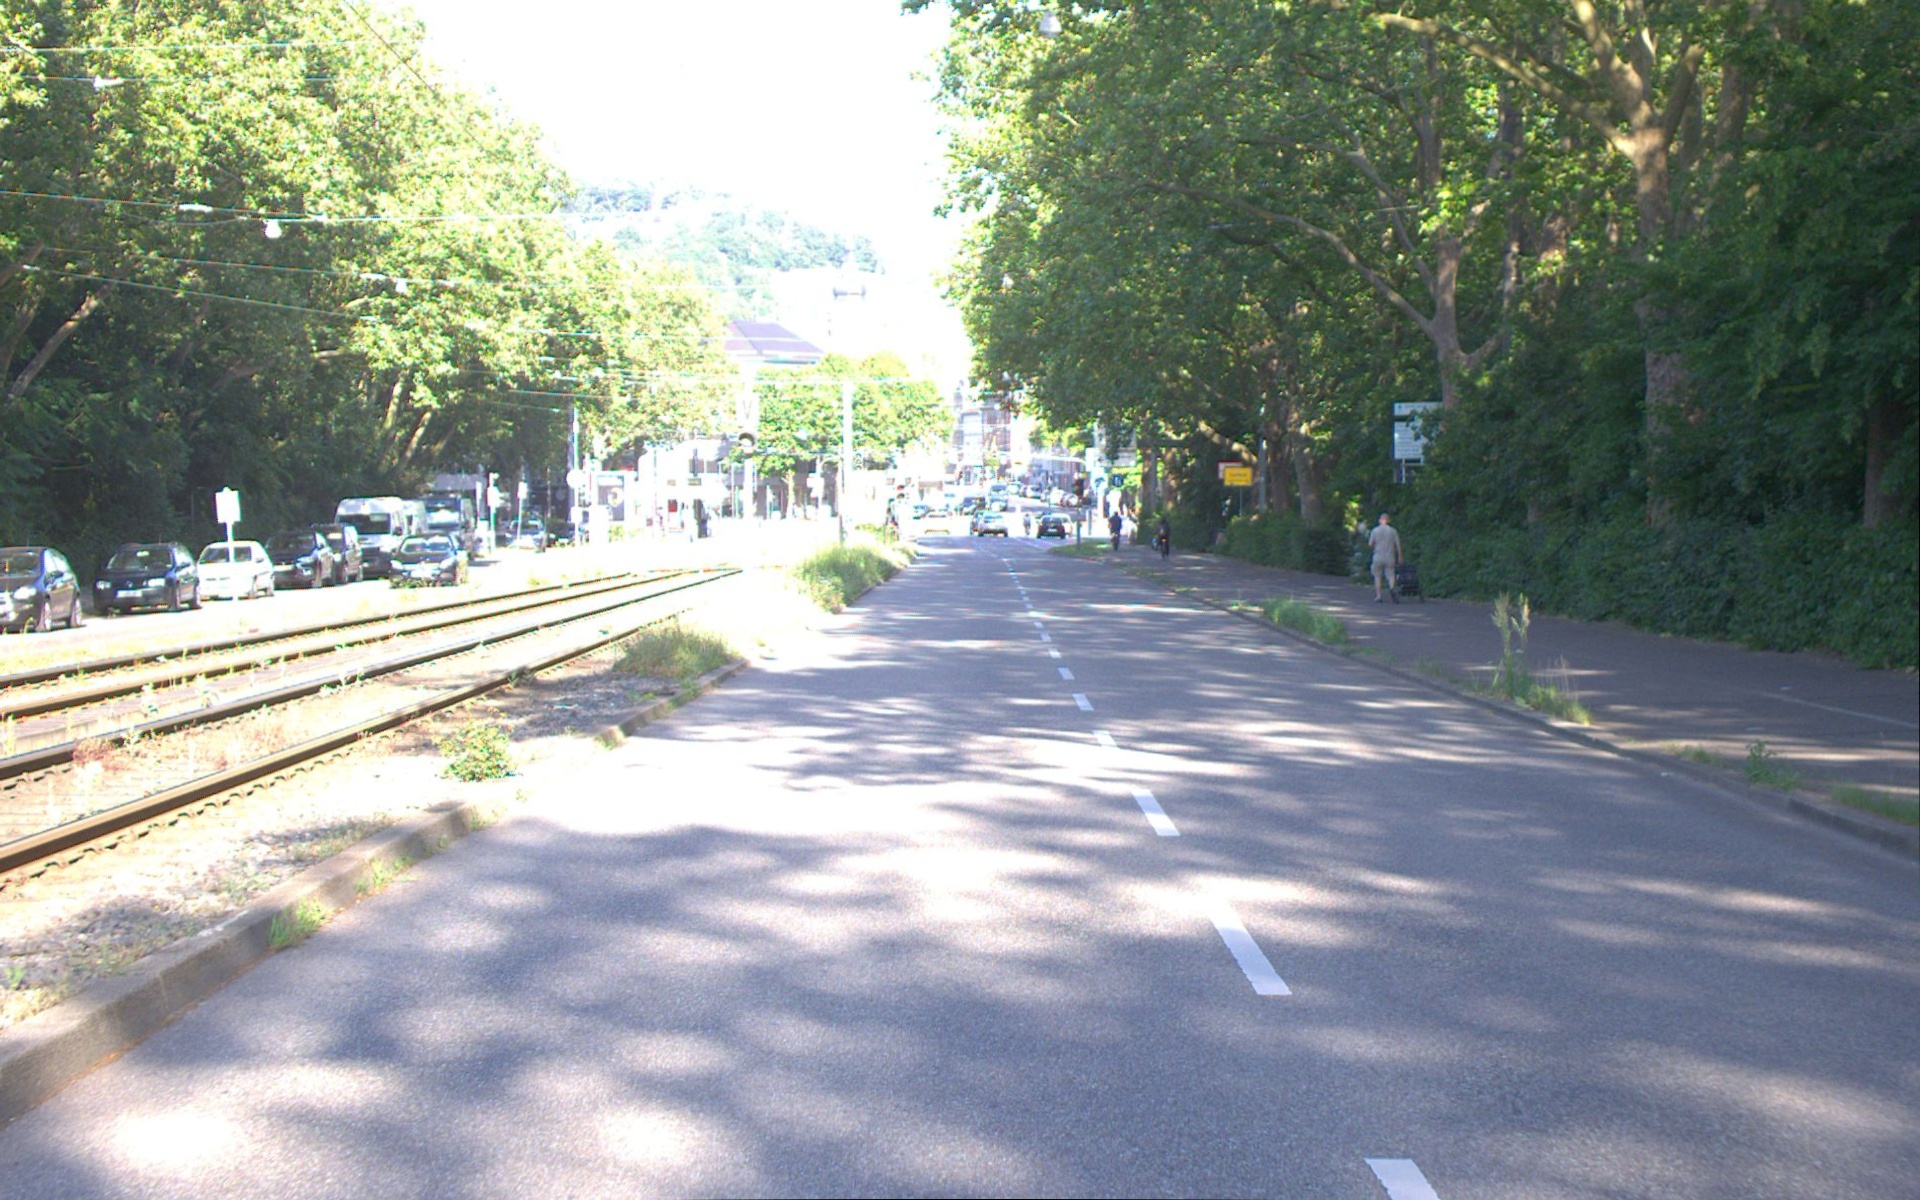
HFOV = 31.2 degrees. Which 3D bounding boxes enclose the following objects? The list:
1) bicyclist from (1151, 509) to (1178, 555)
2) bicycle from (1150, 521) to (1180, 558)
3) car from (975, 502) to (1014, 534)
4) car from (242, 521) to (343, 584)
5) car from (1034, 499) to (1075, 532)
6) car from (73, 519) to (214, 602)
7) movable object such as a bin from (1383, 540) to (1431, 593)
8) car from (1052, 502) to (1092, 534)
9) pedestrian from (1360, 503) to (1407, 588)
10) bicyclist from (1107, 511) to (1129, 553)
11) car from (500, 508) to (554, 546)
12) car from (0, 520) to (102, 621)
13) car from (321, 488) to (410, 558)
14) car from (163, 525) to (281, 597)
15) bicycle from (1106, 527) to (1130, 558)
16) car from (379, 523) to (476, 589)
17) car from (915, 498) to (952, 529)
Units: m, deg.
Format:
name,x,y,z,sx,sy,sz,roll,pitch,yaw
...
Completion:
name,x,y,z,sx,sy,sz,roll,pitch,yaw
bicyclist,7.338,-2.432,123.374,0.887,1.633,1.164,0,1,0
bicycle,7.343,-2.165,123.282,0.887,1.316,2.640,0,1,0
car,2.208,-5.241,219.692,2.394,1.993,5.306,0,1,0
car,-18.599,-1.338,95.976,1.993,1.691,4.745,-1,1,-2
car,5.907,-5.270,215.077,2.394,1.993,5.306,0,1,0
car,-17.294,-0.867,73.037,1.993,1.691,4.745,-1,1,-2
movable object such as a bin,8.115,-0.604,62.413,0.804,0.944,0.656,0,1,4
car,7.271,-5.341,224.323,2.394,1.993,5.306,0,1,0
pedestrian,7.785,-1.002,63.224,0.804,1.540,0.814,0,1,4
bicyclist,6.791,-2.935,147.827,0.887,1.768,1.222,0,1,0
car,-19.808,-3.333,157.527,1.993,1.691,4.745,-1,1,-2
car,-16.537,-0.547,60.107,1.993,1.691,4.745,-1,1,-2
car,-19.043,-2.466,110.358,1.993,2.156,5.815,-1,1,-2
car,-18.129,-0.981,84.619,1.993,1.691,4.745,-1,1,-2
bicycle,6.789,-2.495,147.797,0.887,1.316,2.640,0,1,0
car,-14.262,-1.201,92.347,1.993,1.691,4.745,-1,1,-2
car,-1.752,-5.748,229.334,2.394,1.993,5.306,0,1,0
